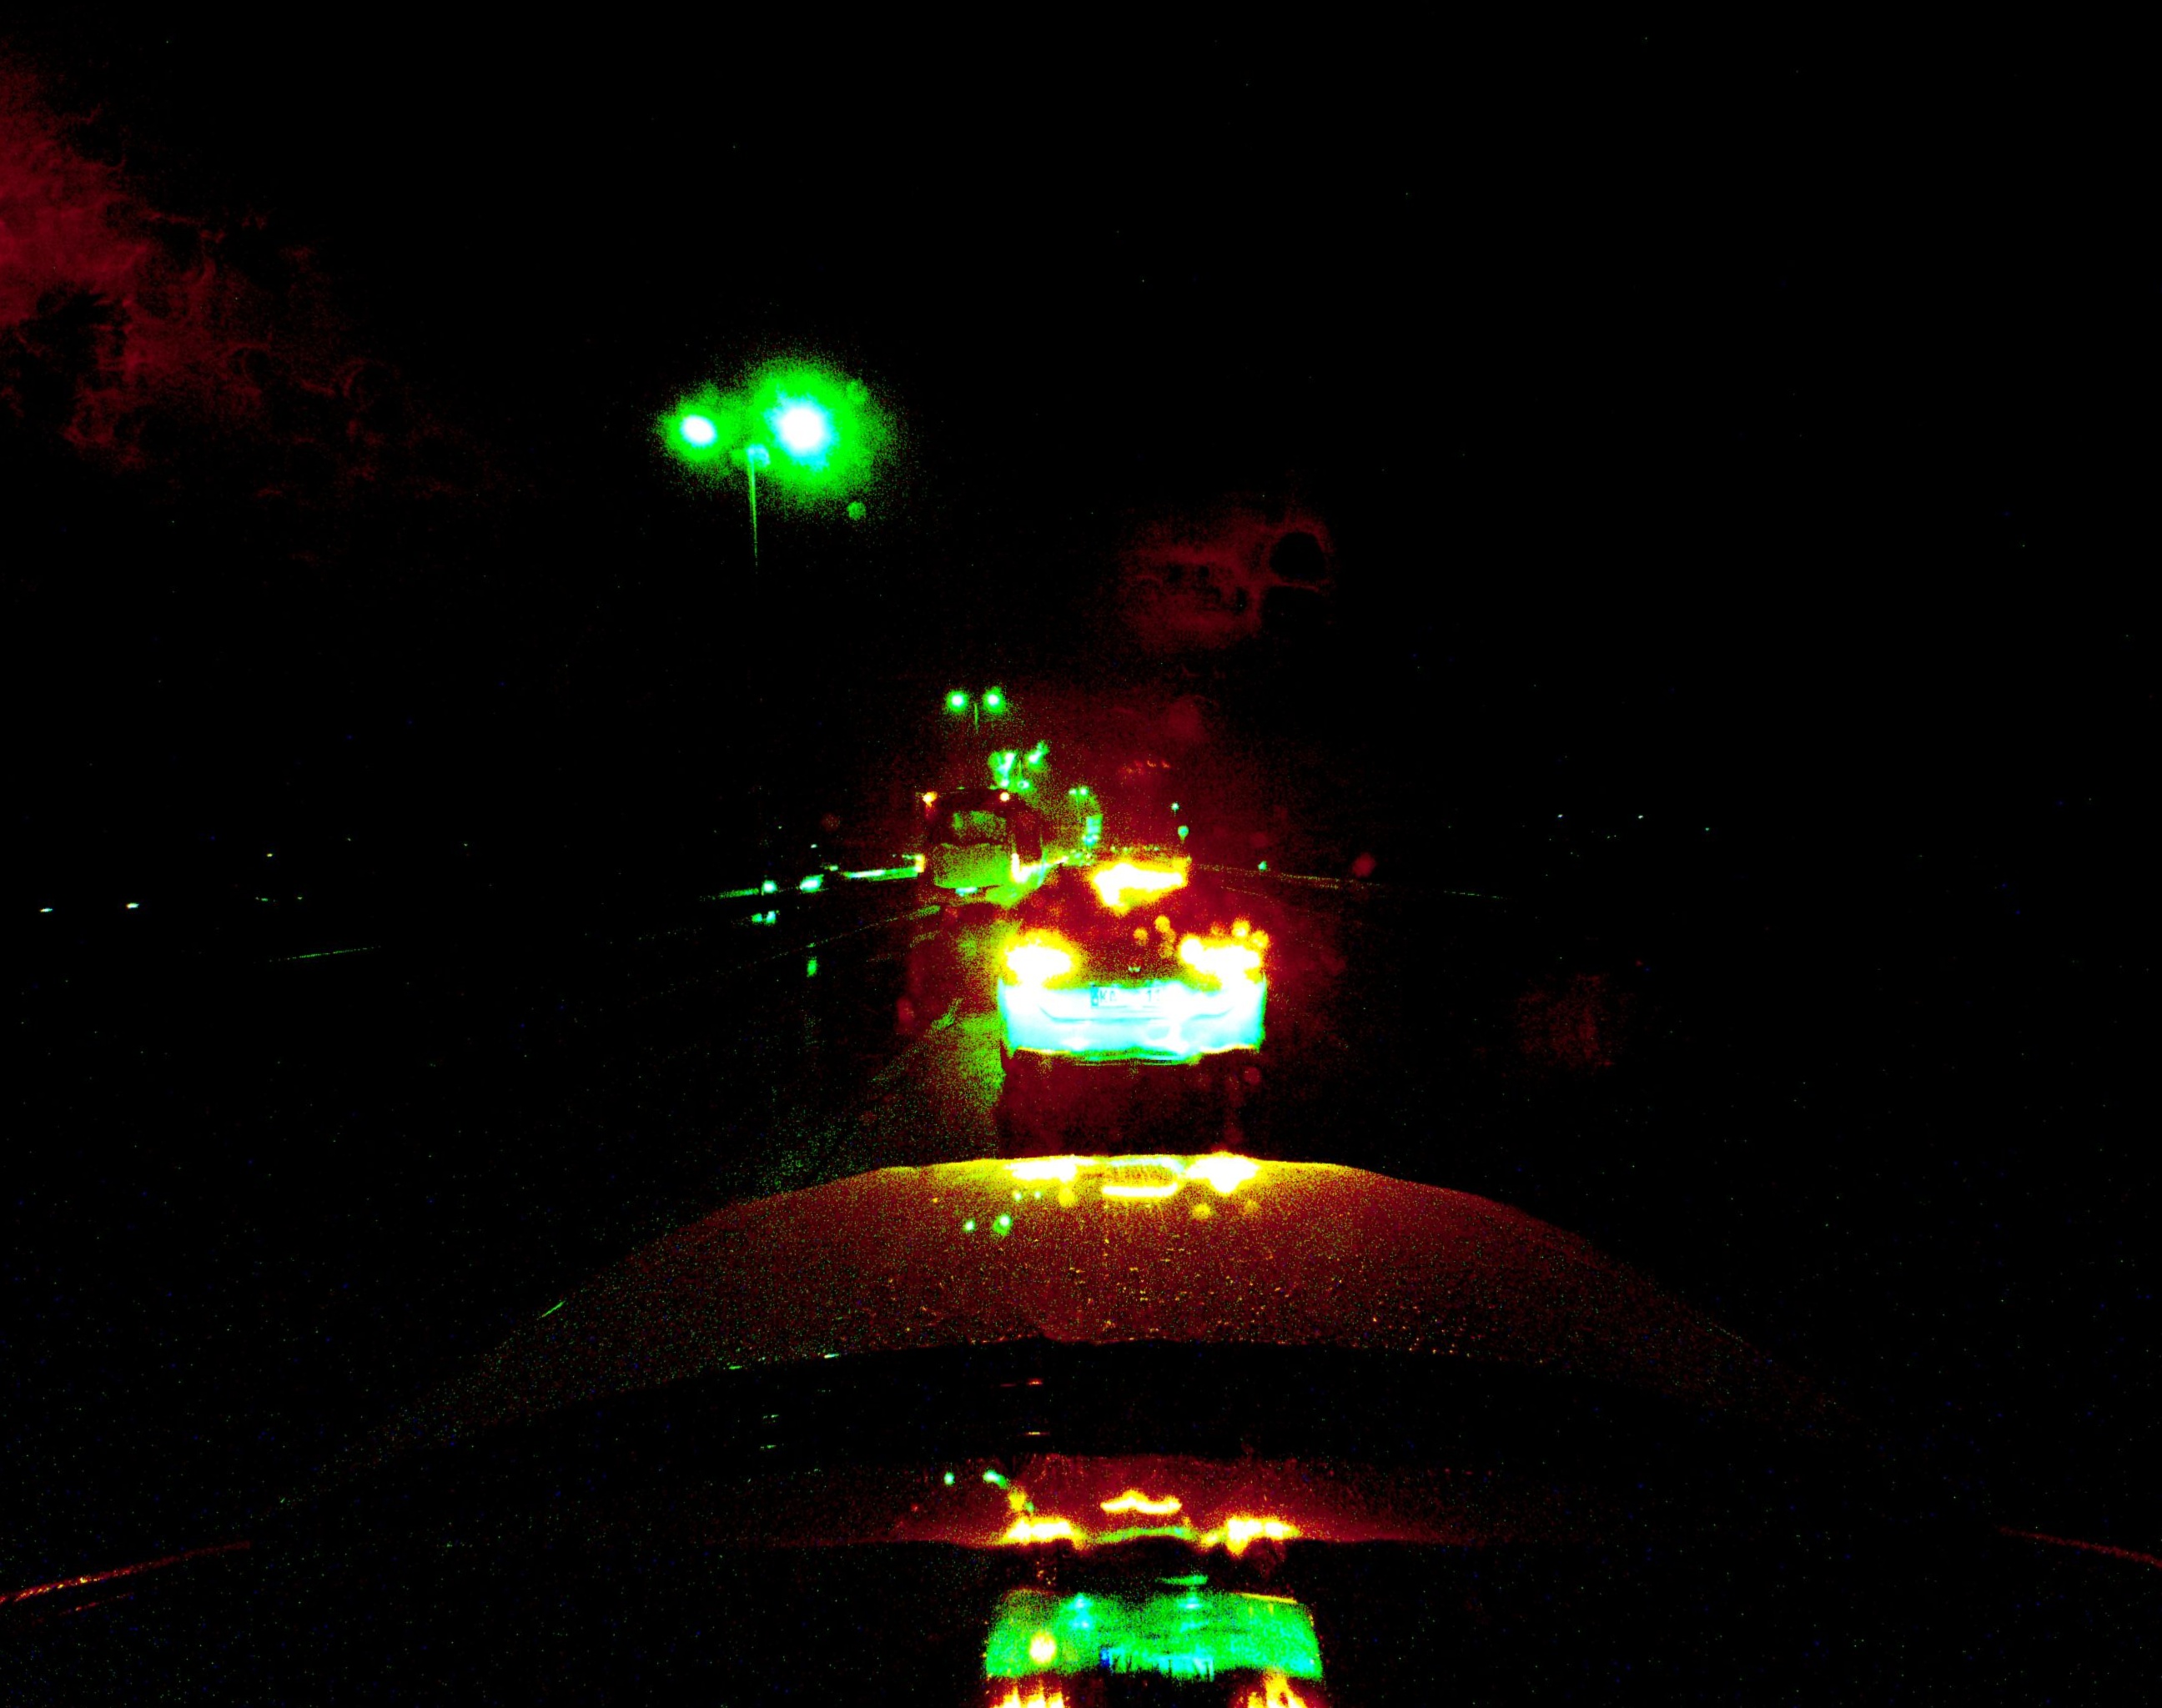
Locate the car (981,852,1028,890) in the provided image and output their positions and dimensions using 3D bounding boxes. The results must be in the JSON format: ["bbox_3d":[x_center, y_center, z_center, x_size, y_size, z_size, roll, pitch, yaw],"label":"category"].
[{"bbox_3d":[-3.288,0.705,35.626,1.775,1.543,3.872,-1,0,-2],"label":"car"}]

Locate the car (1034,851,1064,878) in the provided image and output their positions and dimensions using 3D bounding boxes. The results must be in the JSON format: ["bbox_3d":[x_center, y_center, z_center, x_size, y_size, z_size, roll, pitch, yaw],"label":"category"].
[{"bbox_3d":[-1.953,0.622,50.774,1.774,1.543,3.873,-1,0,-1],"label":"car"}]

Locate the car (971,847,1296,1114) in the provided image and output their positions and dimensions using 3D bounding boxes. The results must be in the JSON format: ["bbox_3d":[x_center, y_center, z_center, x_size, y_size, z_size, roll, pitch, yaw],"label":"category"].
[{"bbox_3d":[0.368,0.710,6.891,1.815,1.484,4.569,-1,0,2],"label":"car"}]

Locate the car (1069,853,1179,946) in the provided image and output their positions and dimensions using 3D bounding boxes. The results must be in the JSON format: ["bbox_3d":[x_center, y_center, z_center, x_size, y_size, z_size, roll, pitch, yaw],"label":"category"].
[{"bbox_3d":[0.685,0.720,15.313,1.726,1.449,4.724,-1,0,0],"label":"car"}]

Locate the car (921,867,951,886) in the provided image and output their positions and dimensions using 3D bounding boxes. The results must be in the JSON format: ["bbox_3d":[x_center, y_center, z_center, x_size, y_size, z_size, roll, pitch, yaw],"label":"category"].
[{"bbox_3d":[-12.720,1.947,71.649,1.604,1.381,4.166,-4,0,2],"label":"car"}]

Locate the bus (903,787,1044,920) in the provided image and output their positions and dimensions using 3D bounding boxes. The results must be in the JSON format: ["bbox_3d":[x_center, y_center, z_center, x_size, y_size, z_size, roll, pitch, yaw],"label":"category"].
[{"bbox_3d":[-2.685,-0.032,23.181,2.806,3.024,8.685,-1,0,0],"label":"bus"}]

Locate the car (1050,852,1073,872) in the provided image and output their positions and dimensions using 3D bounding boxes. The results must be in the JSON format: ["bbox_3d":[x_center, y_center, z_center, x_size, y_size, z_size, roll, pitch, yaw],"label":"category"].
[{"bbox_3d":[-1.541,0.589,65.154,1.774,1.543,3.874,-1,0,0],"label":"car"}]

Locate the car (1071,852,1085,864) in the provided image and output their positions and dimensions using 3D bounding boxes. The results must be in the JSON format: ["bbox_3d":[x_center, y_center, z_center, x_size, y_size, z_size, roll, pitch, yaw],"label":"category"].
[{"bbox_3d":[-0.355,0.456,108.217,1.773,1.543,3.876,-1,0,1],"label":"car"}]

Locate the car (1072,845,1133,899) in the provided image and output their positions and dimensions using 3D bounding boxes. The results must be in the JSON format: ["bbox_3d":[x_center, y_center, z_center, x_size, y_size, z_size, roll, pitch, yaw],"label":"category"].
[{"bbox_3d":[0.614,0.526,26.091,1.735,1.565,3.774,-1,0,-2],"label":"car"}]

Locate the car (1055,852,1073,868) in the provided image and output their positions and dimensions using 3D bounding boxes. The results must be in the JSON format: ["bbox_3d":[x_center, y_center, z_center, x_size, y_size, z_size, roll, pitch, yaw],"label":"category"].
[{"bbox_3d":[-1.705,0.540,81.488,1.775,1.543,3.872,-1,0,-2],"label":"car"}]

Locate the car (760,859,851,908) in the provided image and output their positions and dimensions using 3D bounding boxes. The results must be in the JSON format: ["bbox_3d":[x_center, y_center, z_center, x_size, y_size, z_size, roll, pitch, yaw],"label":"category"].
[{"bbox_3d":[-9.627,0.982,28.782,1.745,1.552,4.011,-2,0,1],"label":"car"}]
